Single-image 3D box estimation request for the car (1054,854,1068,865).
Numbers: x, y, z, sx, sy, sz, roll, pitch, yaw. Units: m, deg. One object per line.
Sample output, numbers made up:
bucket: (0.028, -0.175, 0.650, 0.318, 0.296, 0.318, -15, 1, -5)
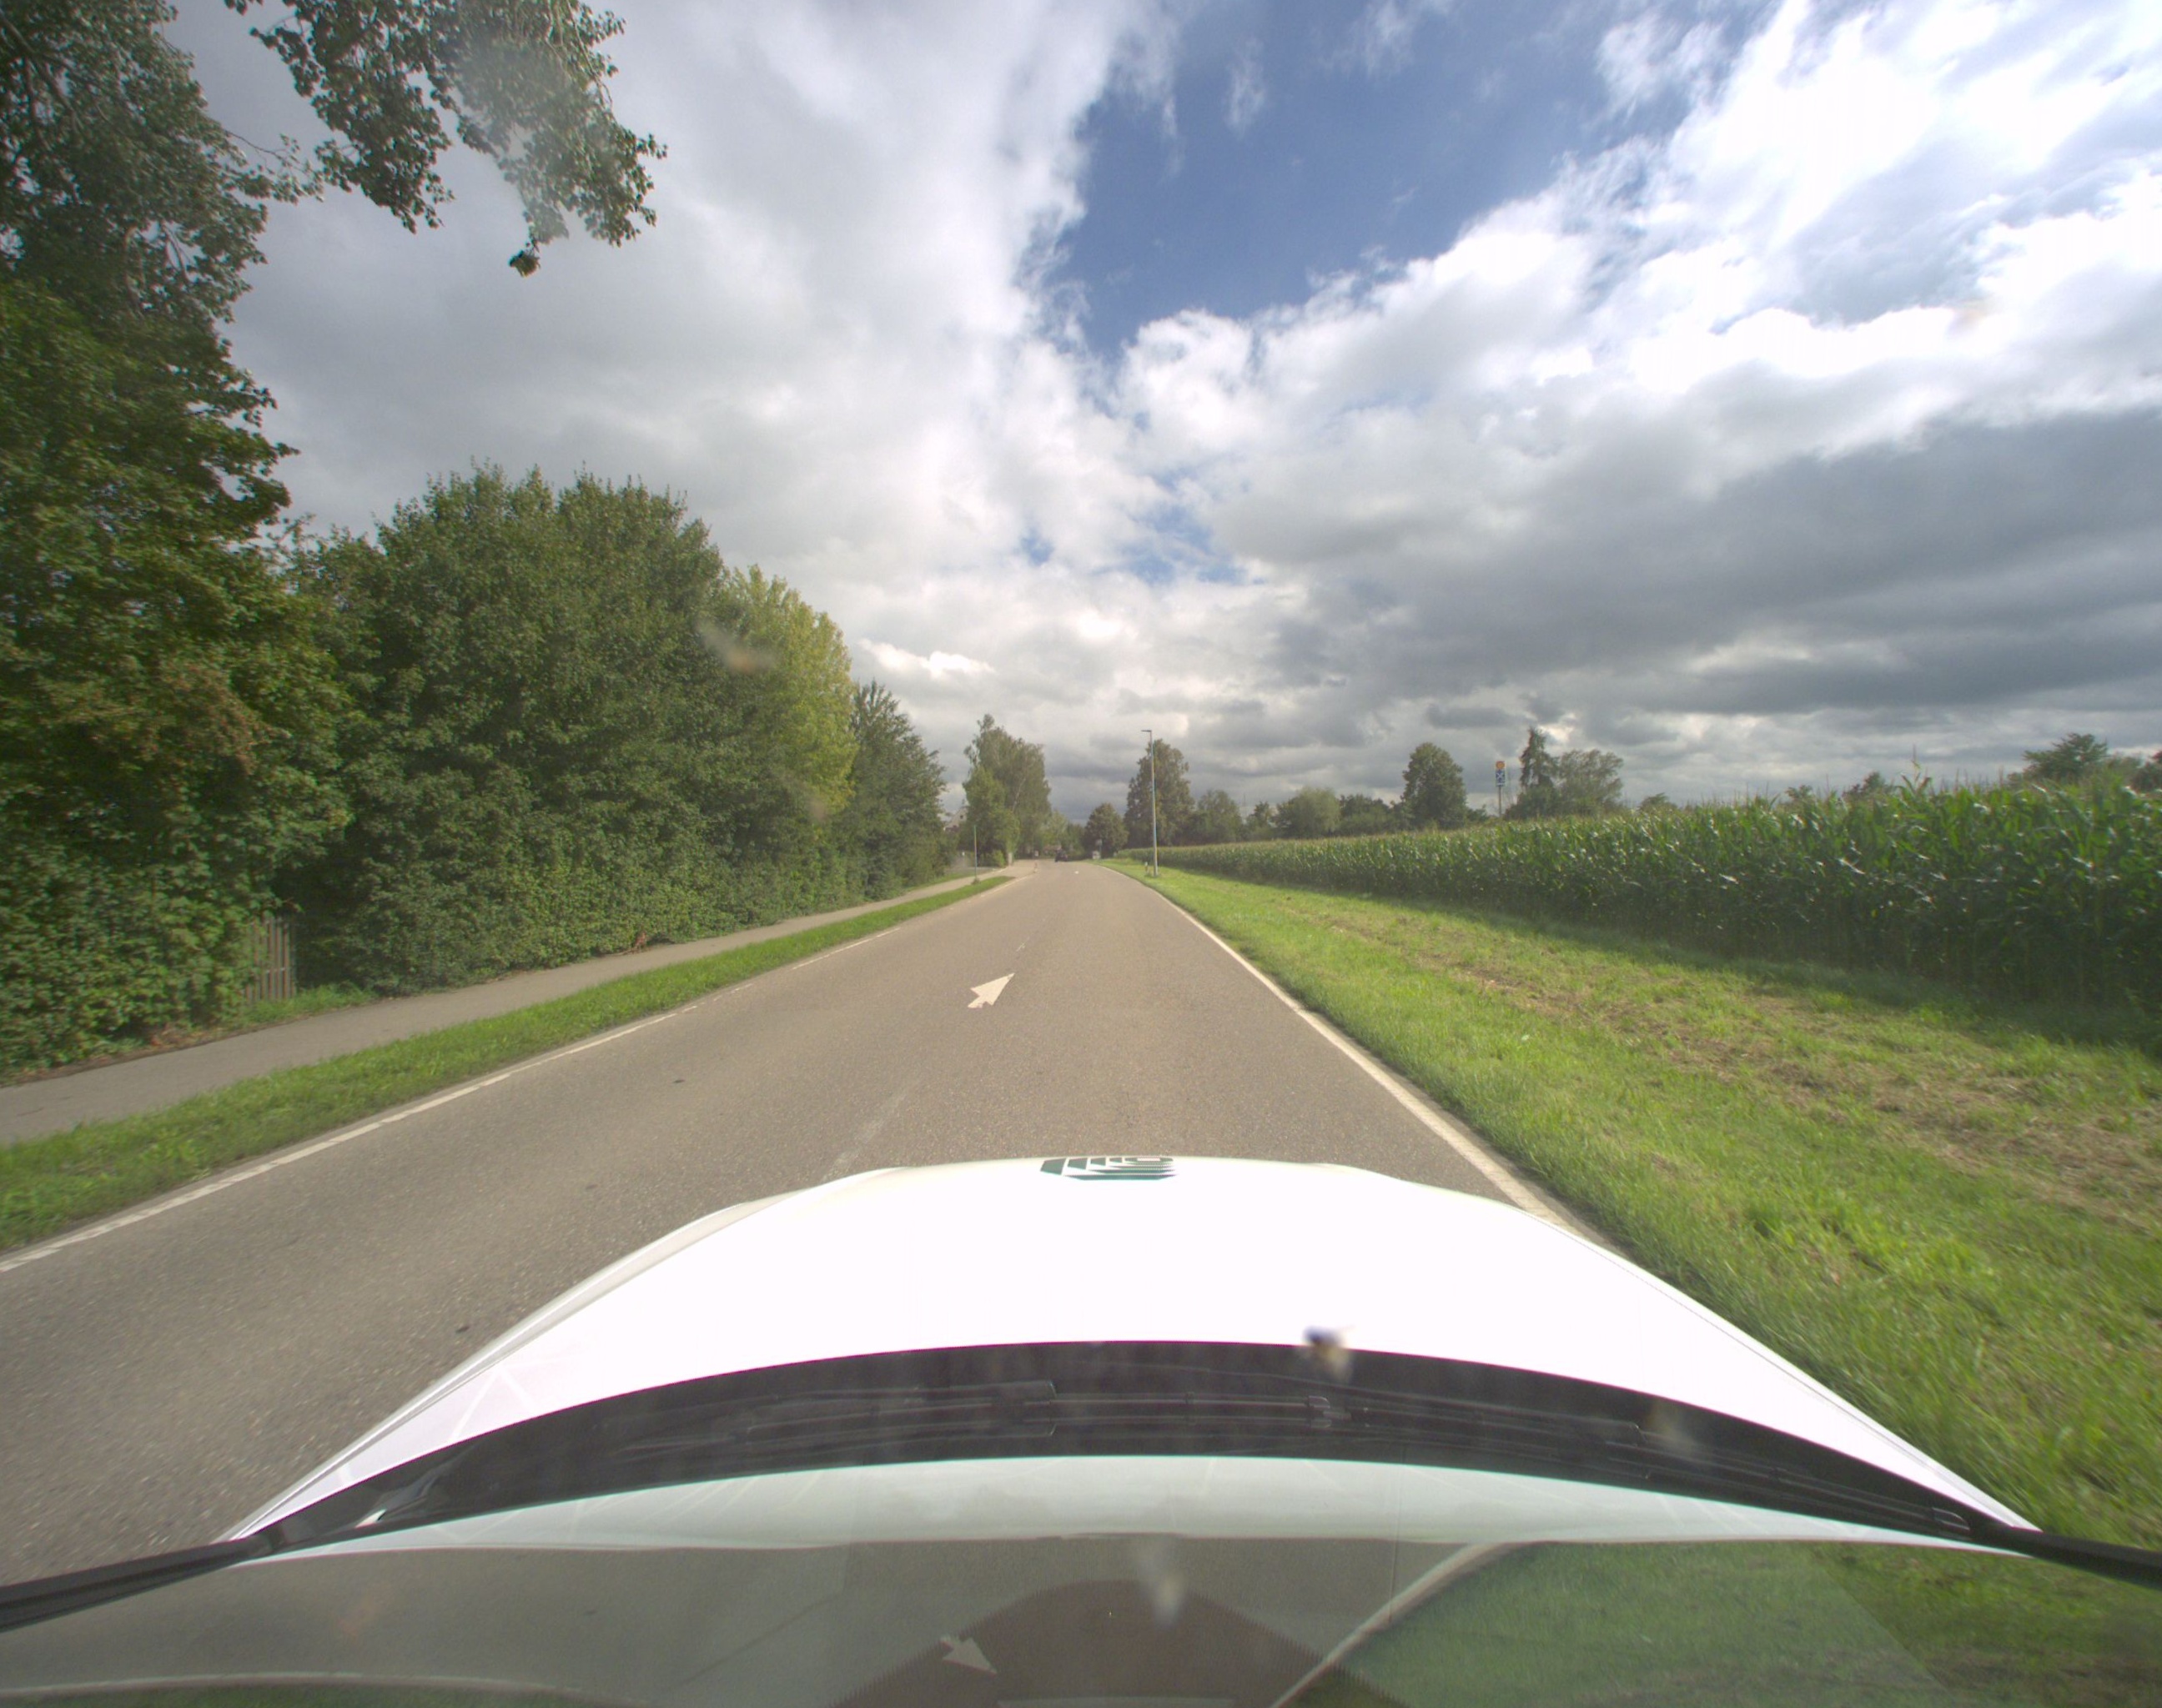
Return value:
car: (-3.262, 0.884, 131.172, 1.990, 1.585, 3.994, 1, 0, -4)
